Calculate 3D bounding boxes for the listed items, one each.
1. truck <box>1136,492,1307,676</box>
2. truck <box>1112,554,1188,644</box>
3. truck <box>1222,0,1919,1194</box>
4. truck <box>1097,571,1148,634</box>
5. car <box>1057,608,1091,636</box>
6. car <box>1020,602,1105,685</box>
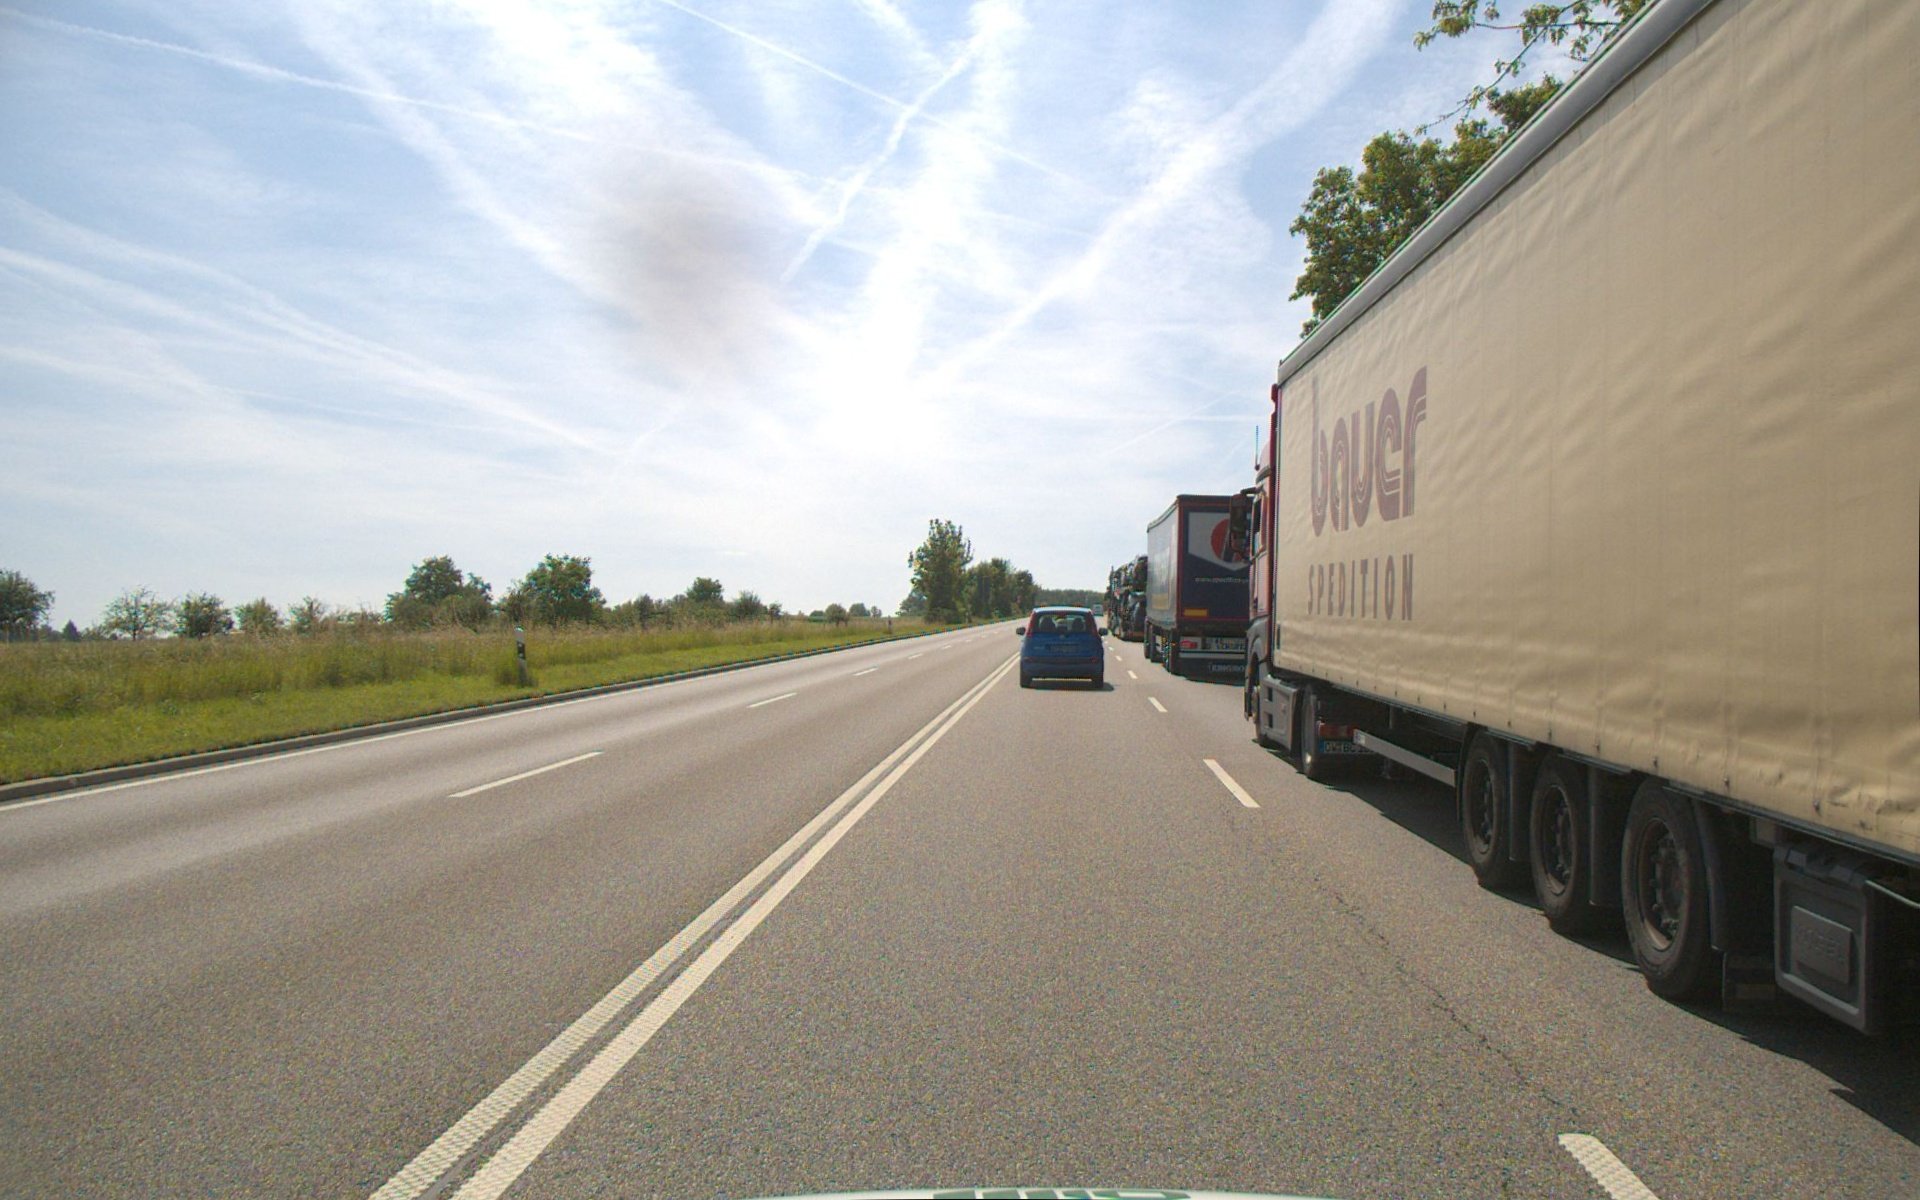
[{"bbox_3d":[6.538,-0.308,43.960,2.983,3.979,15.621,1,0,4],"label":"truck"},{"bbox_3d":[9.399,0.007,83.701,2.983,3.979,18.406,1,0,4],"label":"truck"},{"bbox_3d":[4.293,-0.573,11.796,2.944,4.253,16.719,1,0,3],"label":"truck"},{"bbox_3d":[11.170,0.240,115.298,2.983,3.979,18.406,1,0,4],"label":"truck"},{"bbox_3d":[5.985,1.157,87.068,1.668,1.400,4.604,2,0,3],"label":"car"},{"bbox_3d":[2.090,0.861,33.606,1.597,1.558,3.916,1,-1,4],"label":"car"}]
